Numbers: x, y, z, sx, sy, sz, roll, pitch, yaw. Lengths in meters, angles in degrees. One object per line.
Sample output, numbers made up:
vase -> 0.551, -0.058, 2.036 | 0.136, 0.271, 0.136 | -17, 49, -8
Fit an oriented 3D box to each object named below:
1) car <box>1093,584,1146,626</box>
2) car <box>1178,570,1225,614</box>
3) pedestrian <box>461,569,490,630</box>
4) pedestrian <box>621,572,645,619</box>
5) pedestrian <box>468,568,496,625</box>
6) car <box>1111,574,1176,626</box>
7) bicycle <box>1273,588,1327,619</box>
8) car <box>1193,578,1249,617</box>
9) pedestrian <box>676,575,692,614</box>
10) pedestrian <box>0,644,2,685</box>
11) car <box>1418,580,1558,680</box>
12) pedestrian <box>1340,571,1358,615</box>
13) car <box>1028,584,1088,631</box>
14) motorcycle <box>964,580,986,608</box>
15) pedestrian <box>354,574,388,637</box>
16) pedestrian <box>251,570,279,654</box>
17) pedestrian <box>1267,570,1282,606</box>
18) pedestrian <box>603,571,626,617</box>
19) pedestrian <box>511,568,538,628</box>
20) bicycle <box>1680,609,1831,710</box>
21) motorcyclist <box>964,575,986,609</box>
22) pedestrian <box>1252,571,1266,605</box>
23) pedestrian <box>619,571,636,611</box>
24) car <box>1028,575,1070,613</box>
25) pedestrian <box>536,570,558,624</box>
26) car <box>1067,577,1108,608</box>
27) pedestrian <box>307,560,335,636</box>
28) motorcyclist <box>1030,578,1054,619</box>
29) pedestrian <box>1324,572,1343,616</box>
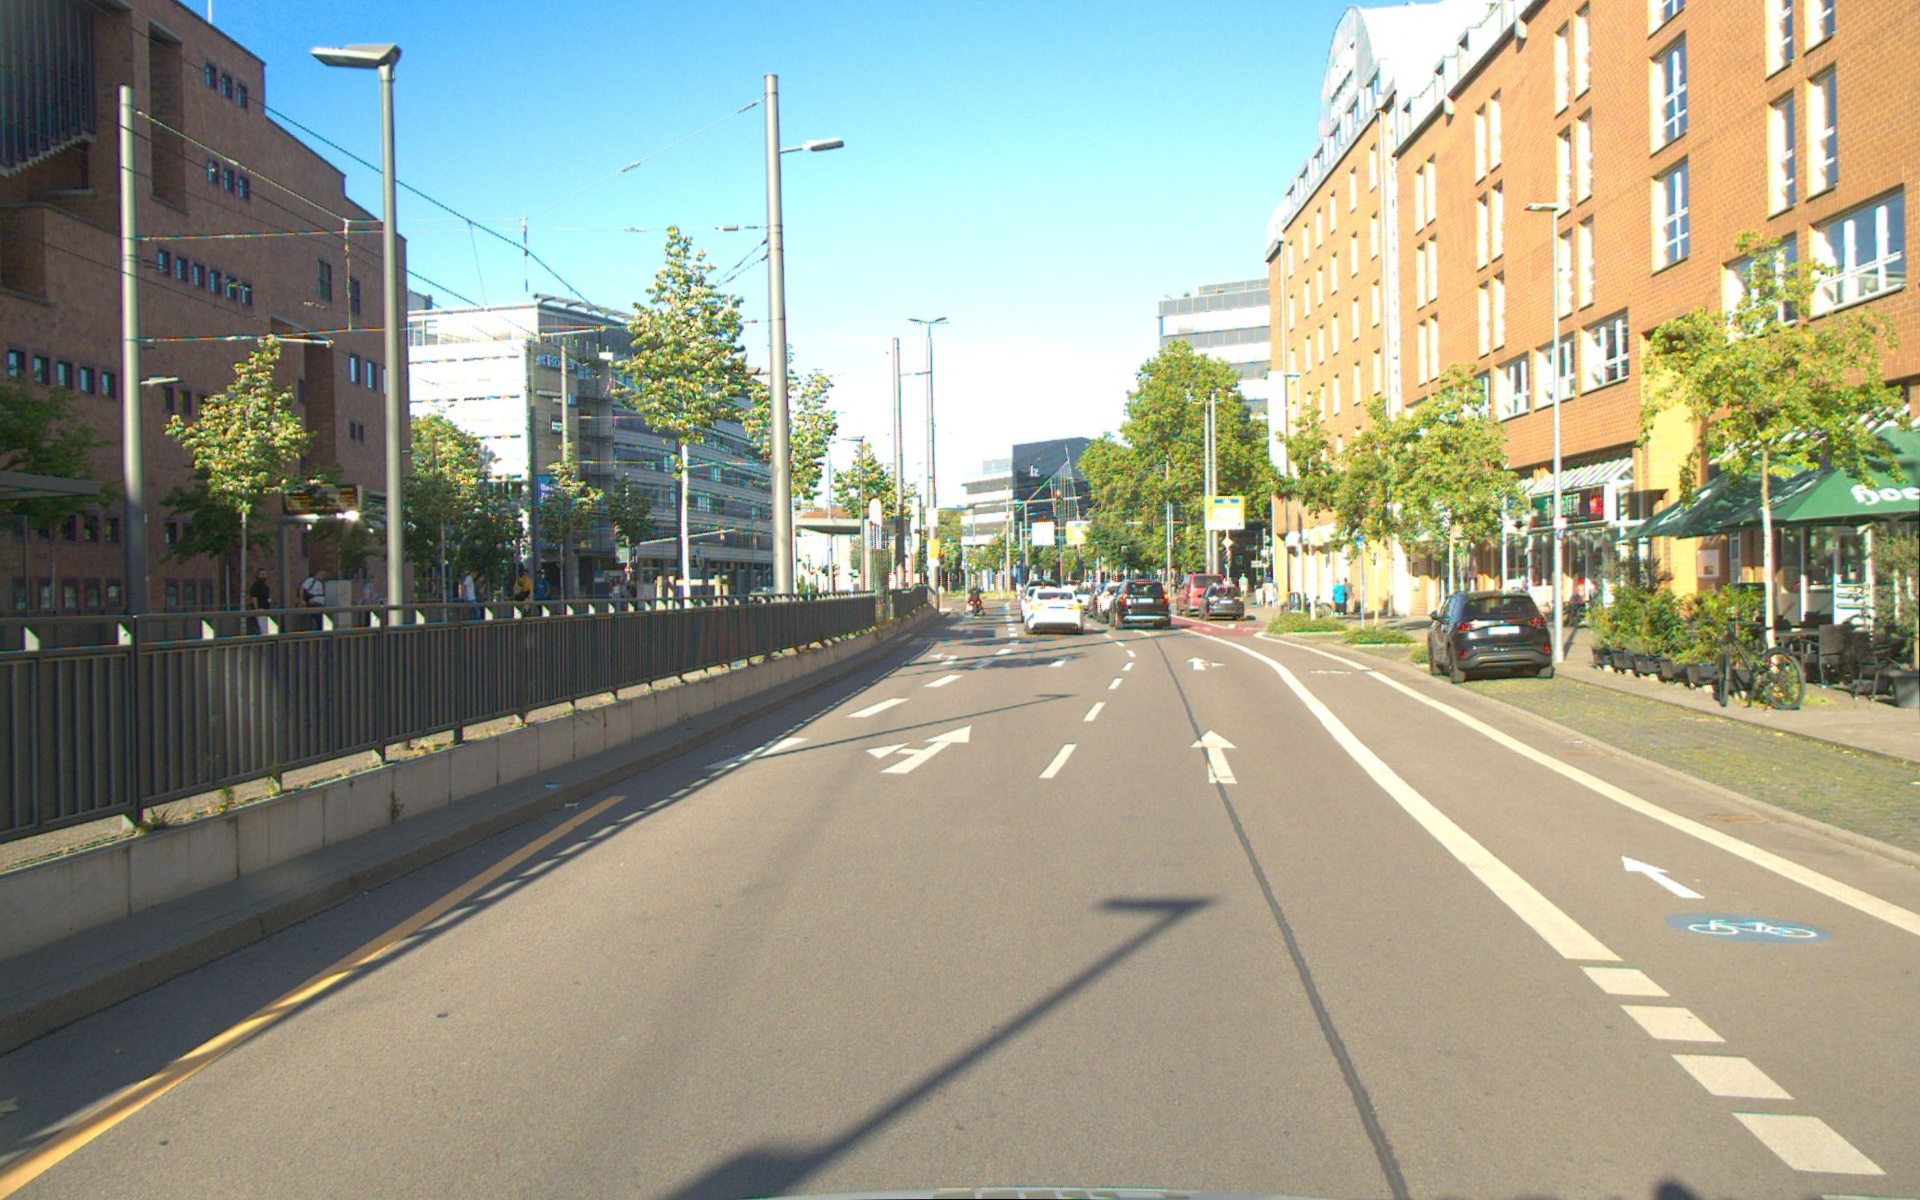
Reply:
car -> 6.436, 0.178, 67.229 | 1.812, 1.668, 4.379 | 0, 1, 1
car -> 11.373, -0.381, 78.082 | 1.821, 1.995, 4.002 | -1, 1, 3
pedestrian -> -13.863, -0.021, 47.313 | 0.610, 1.744, 0.616 | 0, 0, 2
pedestrian -> -11.885, -0.169, 60.181 | 0.627, 1.672, 0.946 | 1, 1, 2
pedestrian -> -13.904, -0.102, 48.099 | 0.610, 1.640, 0.616 | 0, 0, 2
car -> 6.562, -0.025, 59.571 | 1.934, 1.790, 4.634 | 1, 1, 2
bicycle -> 12.534, 0.132, 61.050 | 1.903, 1.094, 0.555 | -2, 0, 12
car -> 11.276, -0.132, 71.739 | 1.808, 1.588, 4.634 | 1, 1, 2
pedestrian -> -13.262, -0.253, 79.448 | 0.601, 1.849, 0.897 | 0, 0, 2
pedestrian -> -13.637, 0.526, 22.569 | 0.632, 1.331, 0.722 | -3, 0, 1
car -> 9.603, 0.488, 30.386 | 1.684, 1.665, 4.235 | -2, 0, 8
pedestrian -> 16.661, -0.315, 70.830 | 0.594, 1.853, 0.748 | -1, 0, 1
car -> 3.159, 0.202, 53.992 | 1.744, 1.439, 4.820 | 1, 1, 1
motorcycle -> 0.737, -0.302, 79.733 | 0.998, 1.335, 2.915 | 1, 1, 2
pedestrian -> -13.893, 0.127, 39.024 | 0.528, 1.485, 0.642 | 1, 0, 2
pedestrian -> -14.074, 0.240, 33.494 | 0.370, 1.677, 0.416 | 1, 0, 2
pedestrian -> 16.400, -0.624, 86.216 | 0.594, 1.853, 0.748 | -1, 0, 1
pedestrian -> -12.569, -0.226, 60.184 | 0.627, 1.636, 0.946 | 1, 1, 2
pedestrian -> -12.621, -0.064, 47.929 | 0.627, 1.725, 0.541 | 1, 0, 2
bicycle -> 9.792, 0.713, 20.446 | 0.750, 1.099, 1.997 | -6, -1, -2
motorcyclist -> 0.734, -0.389, 79.773 | 0.998, 1.631, 1.149 | 1, 1, 2
pedestrian -> 16.460, -0.683, 91.126 | 0.594, 1.853, 0.748 | -1, 0, 1
pedestrian -> -13.987, -0.380, 69.520 | 0.551, 1.637, 0.616 | 0, 0, 2
car -> 3.652, -0.268, 68.392 | 1.657, 1.523, 4.410 | 1, 1, 2
pedestrian -> -13.426, -0.103, 53.775 | 0.569, 1.768, 0.616 | 0, 0, 2
car -> 6.478, -0.403, 84.377 | 1.812, 1.524, 4.380 | 0, 1, 1
pedestrian -> -13.993, -0.041, 36.203 | 0.370, 1.649, 0.553 | 1, 0, 2
motorcyclist -> 3.106, -0.074, 62.745 | 0.820, 1.501, 1.236 | -1, 1, 0
pedestrian -> 15.794, -0.249, 69.887 | 0.594, 1.853, 0.748 | -1, 0, 1
